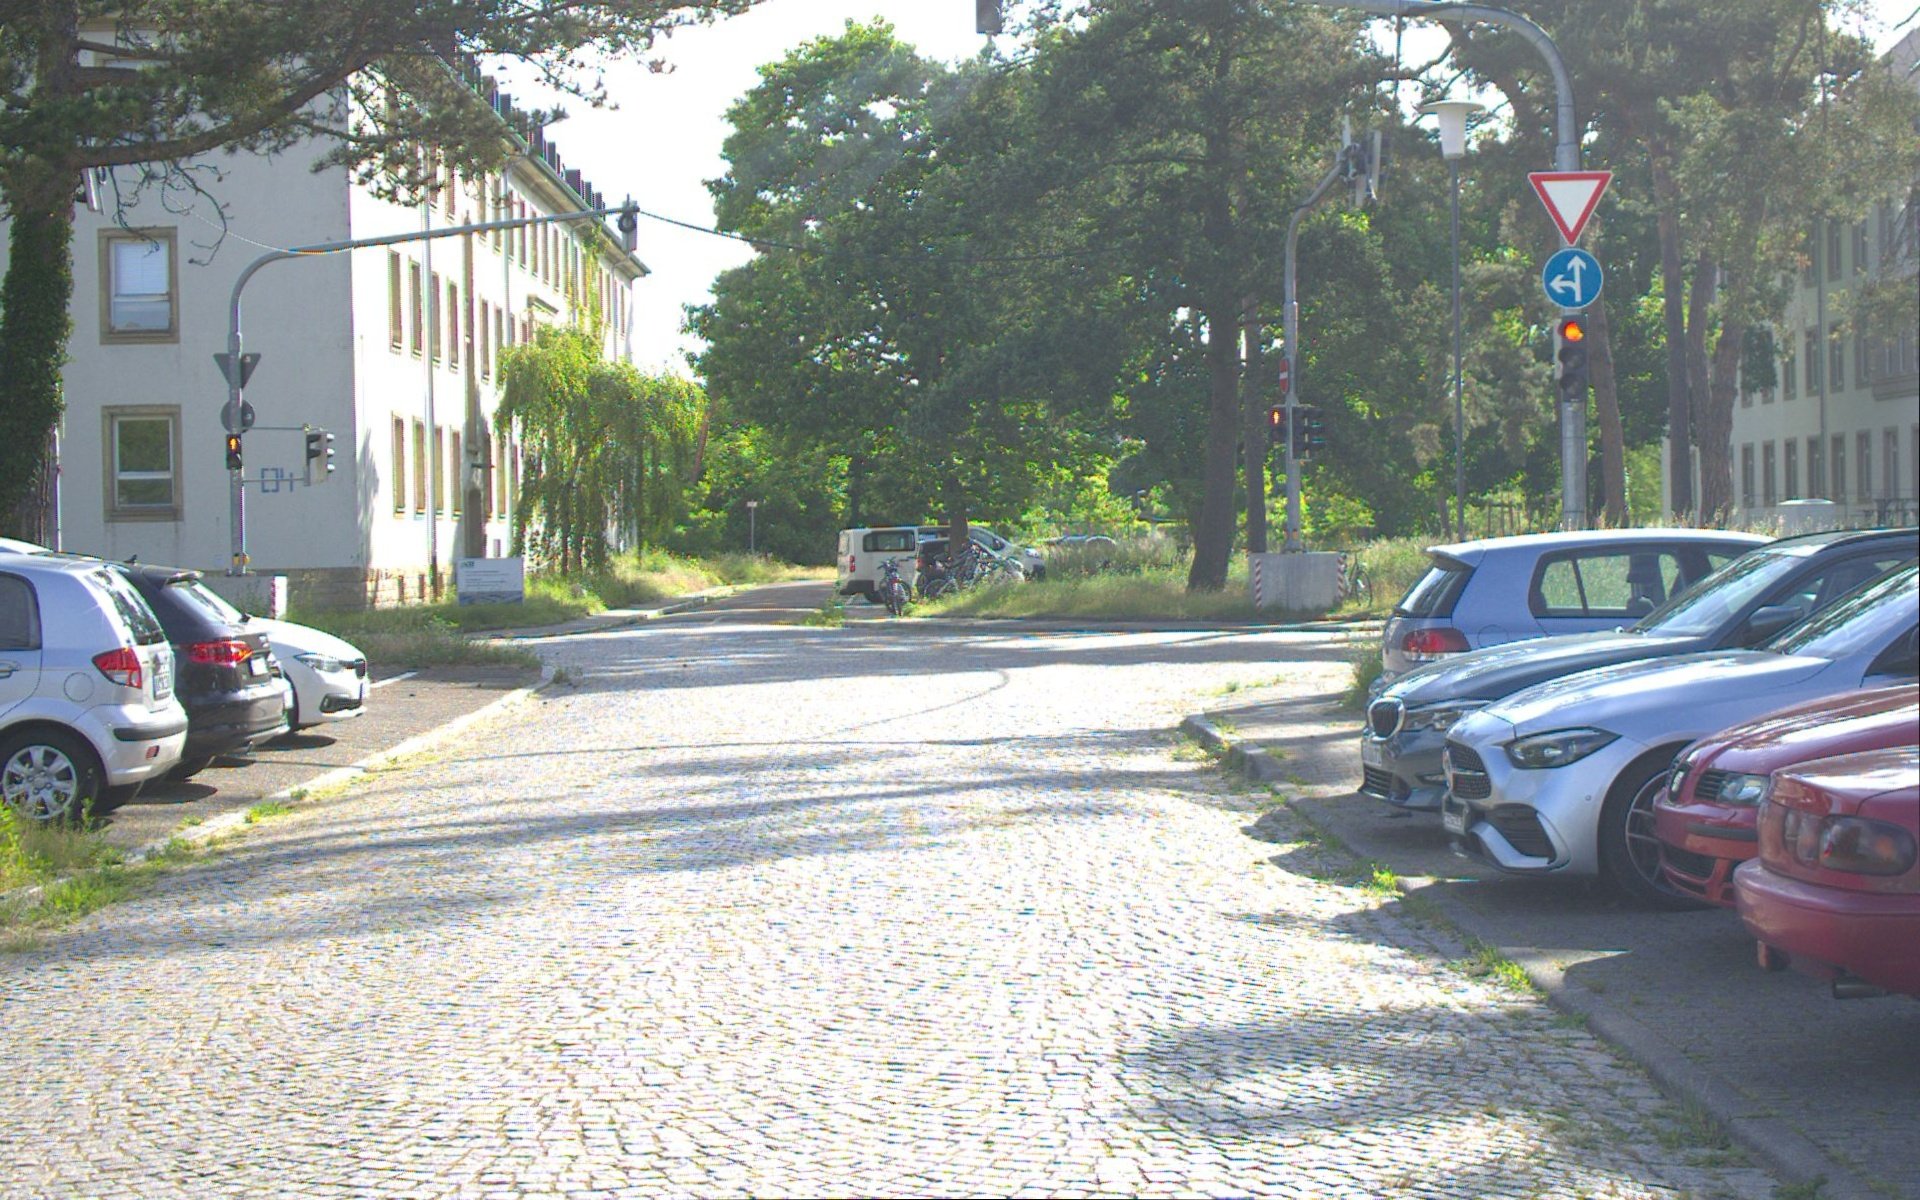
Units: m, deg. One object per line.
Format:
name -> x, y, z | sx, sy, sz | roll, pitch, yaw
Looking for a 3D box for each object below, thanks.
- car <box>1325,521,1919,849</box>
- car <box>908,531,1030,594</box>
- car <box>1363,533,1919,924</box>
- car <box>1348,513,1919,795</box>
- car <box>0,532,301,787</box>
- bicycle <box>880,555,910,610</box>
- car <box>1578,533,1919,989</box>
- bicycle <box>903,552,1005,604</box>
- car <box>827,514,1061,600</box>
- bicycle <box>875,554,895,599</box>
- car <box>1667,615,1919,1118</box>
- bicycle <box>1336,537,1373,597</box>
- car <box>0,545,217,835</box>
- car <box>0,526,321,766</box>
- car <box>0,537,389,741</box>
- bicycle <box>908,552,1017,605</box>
car -> 4.194, 0.352, 16.990 | 4.559, 1.410, 1.637 | -2, 2, 0
car -> 0.206, -0.905, 83.098 | 2.781, 1.462, 1.671 | 1, 0, -5
car -> 4.017, 0.445, 14.276 | 4.432, 1.410, 1.781 | -2, 2, 0
car -> 4.289, 0.267, 19.769 | 3.882, 1.410, 1.637 | -2, 2, 0
car -> -6.249, 0.317, 21.421 | 3.986, 1.475, 1.803 | 1, 1, -3
bicycle -> -1.231, -0.338, 65.059 | 0.467, 1.006, 1.586 | 1, 0, -4
car -> 4.426, 0.461, 12.192 | 4.127, 1.444, 1.637 | -2, 2, 0
bicycle -> -0.124, -0.448, 70.339 | 2.004, 1.007, 0.632 | 1, 0, -8
car -> -0.404, -1.077, 86.678 | 5.520, 2.007, 2.001 | 1, 0, -18
bicycle -> -1.708, -0.535, 78.276 | 0.417, 1.006, 1.483 | 1, 0, 0
car -> 4.068, 0.637, 9.795 | 3.707, 1.219, 1.746 | -2, 2, 0
bicycle -> 6.479, -0.542, 56.544 | 0.300, 0.957, 1.586 | 1, 0, -4
car -> -6.090, 0.434, 18.758 | 3.746, 1.482, 1.646 | 1, 1, -3
car -> -6.720, 0.279, 24.381 | 4.079, 1.588, 1.886 | 1, 1, -3
car -> -6.741, 0.268, 26.776 | 4.333, 1.463, 1.831 | 1, 1, -3
bicycle -> 0.046, -0.430, 68.764 | 2.108, 1.007, 0.621 | 1, 0, -8
